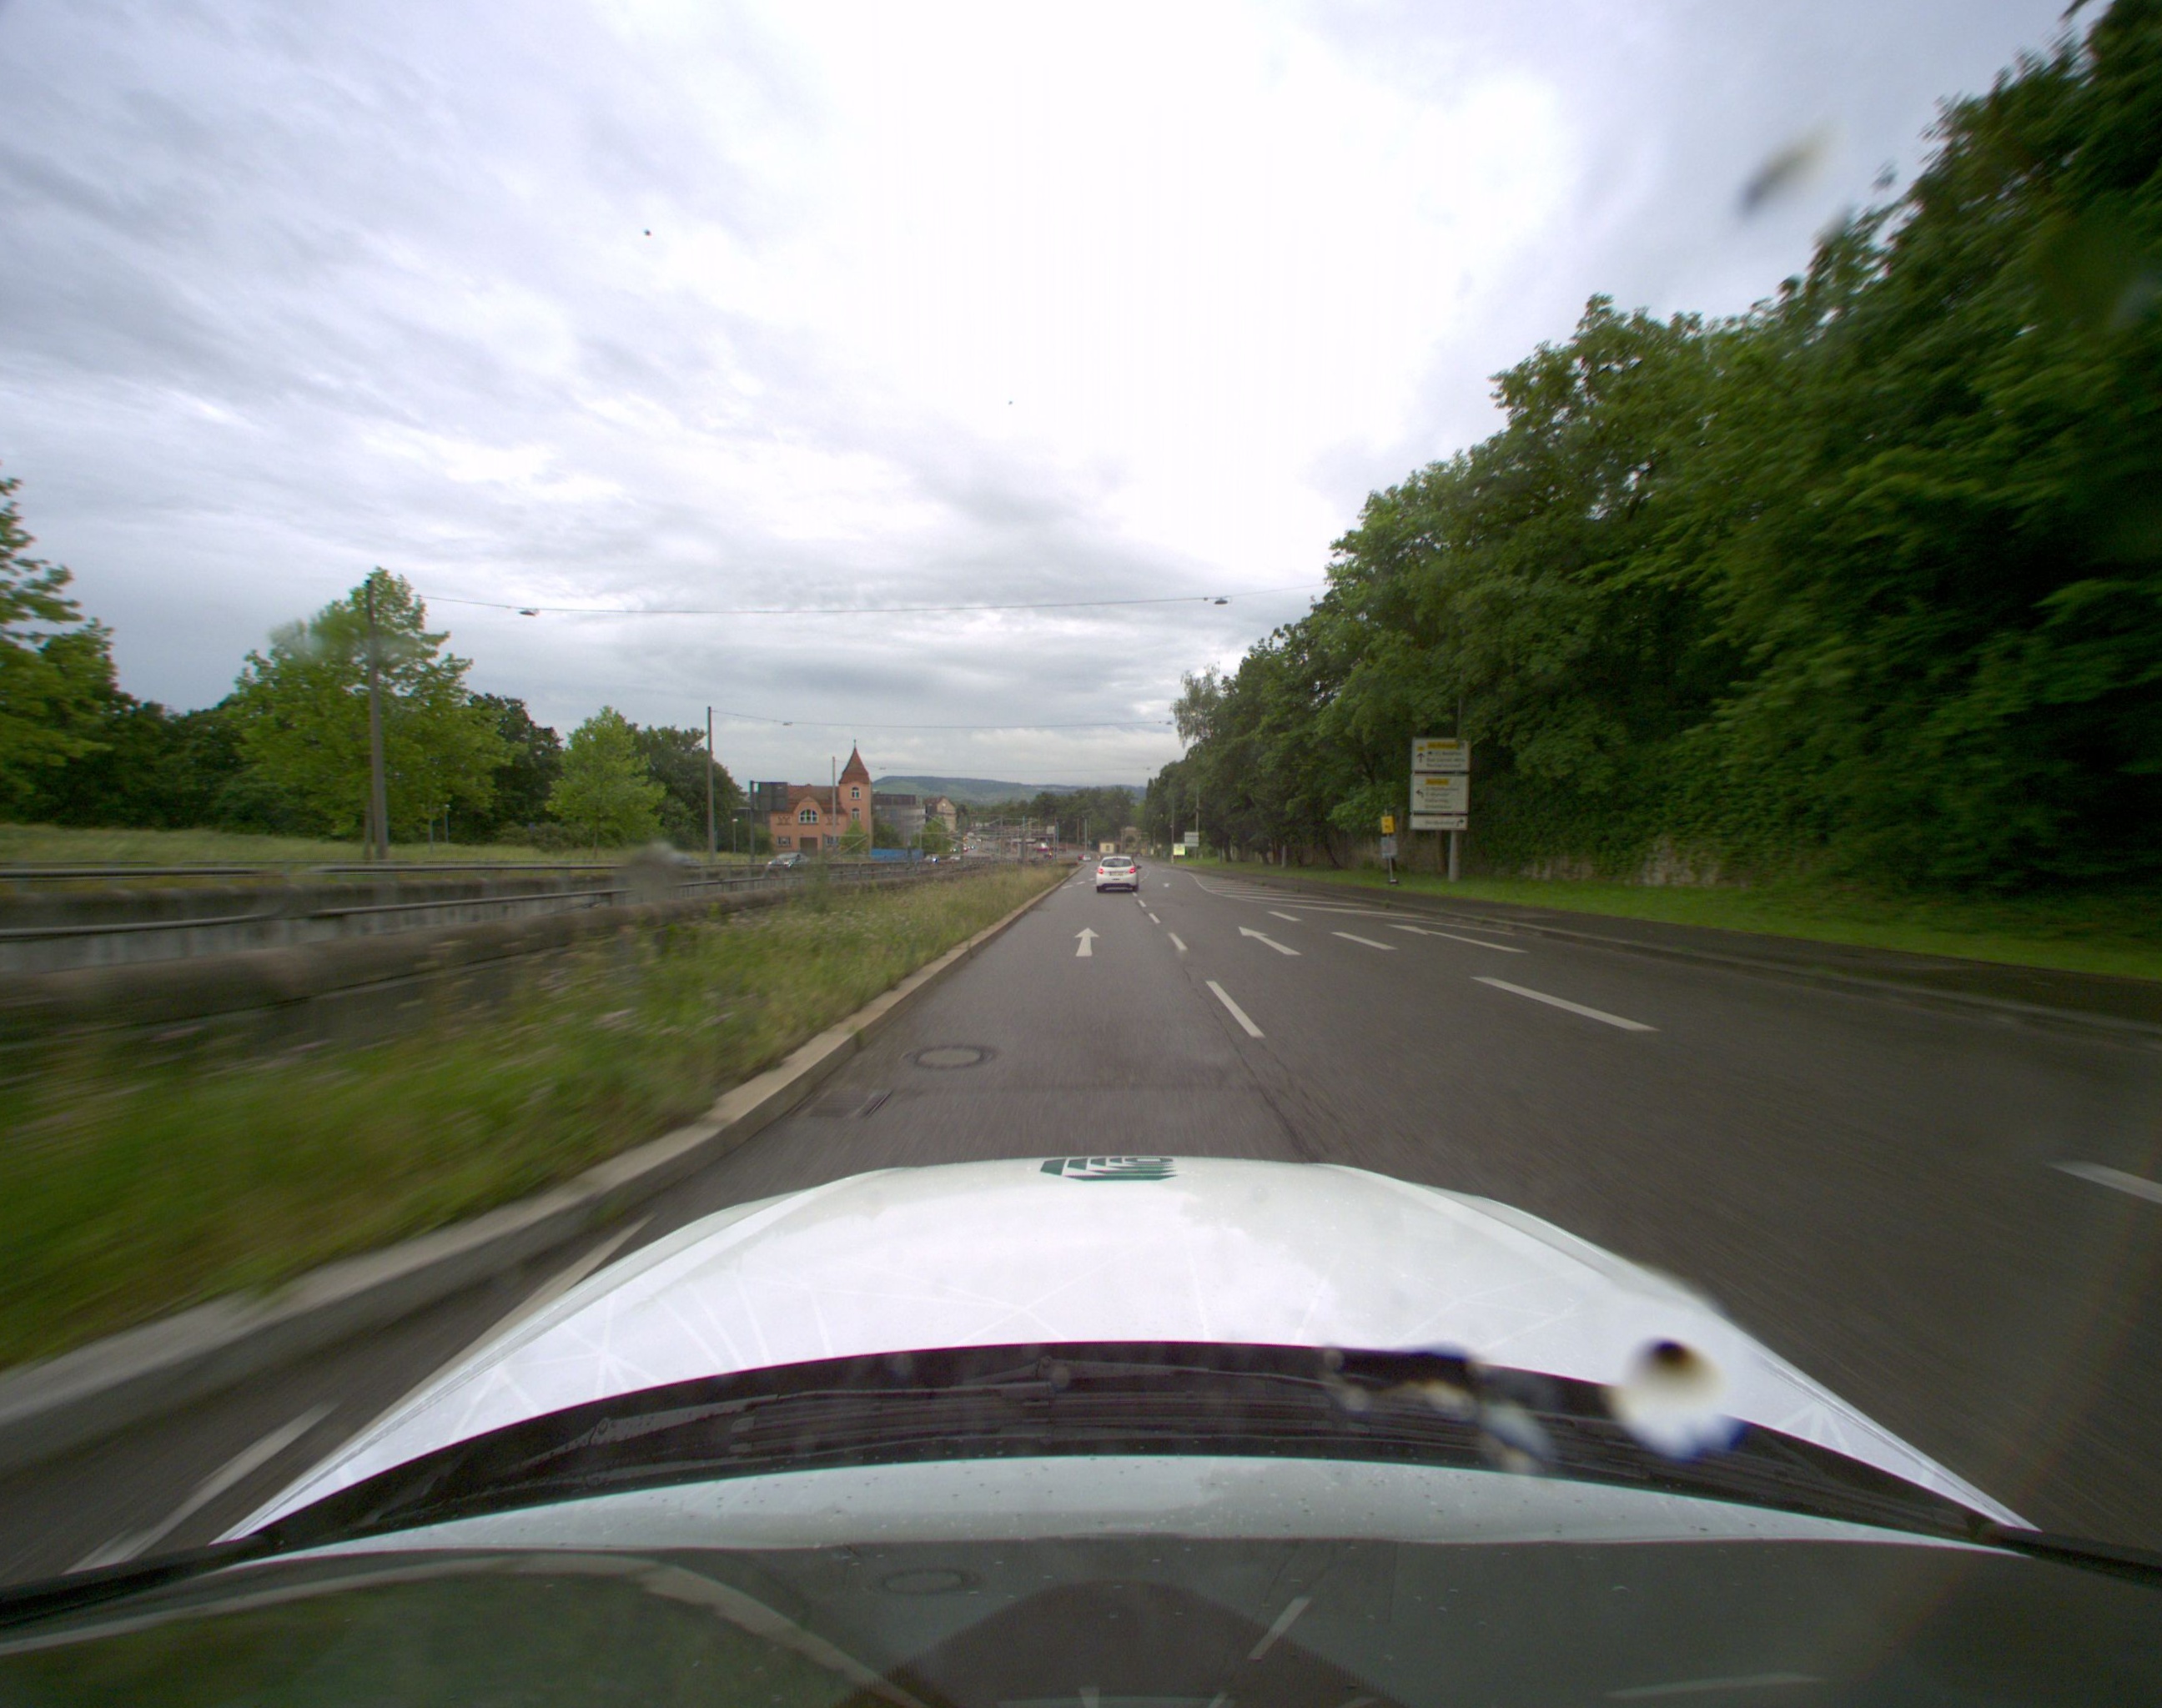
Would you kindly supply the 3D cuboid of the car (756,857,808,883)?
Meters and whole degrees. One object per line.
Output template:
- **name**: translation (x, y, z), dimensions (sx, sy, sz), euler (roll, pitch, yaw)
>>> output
- **car**: translation (-21.327, 1.090, 58.208), dimensions (1.883, 1.644, 4.360), euler (3, 0, 2)

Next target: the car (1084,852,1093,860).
- **car**: translation (1.636, 0.398, 184.208), dimensions (1.815, 1.606, 4.003), euler (-2, 0, 3)

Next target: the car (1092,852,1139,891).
- **car**: translation (1.469, 0.695, 34.572), dimensions (1.861, 1.511, 3.902), euler (-1, 1, 2)

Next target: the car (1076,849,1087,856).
- **car**: translation (0.097, -0.330, 192.465), dimensions (1.995, 1.706, 3.985), euler (0, 0, -11)

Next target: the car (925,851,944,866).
- **car**: translation (-20.264, 0.571, 112.768), dimensions (1.885, 1.970, 4.033), euler (3, 0, -1)

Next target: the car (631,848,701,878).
- **car**: translation (-23.888, 0.482, 47.009), dimensions (1.883, 1.640, 3.975), euler (0, 0, 2)
